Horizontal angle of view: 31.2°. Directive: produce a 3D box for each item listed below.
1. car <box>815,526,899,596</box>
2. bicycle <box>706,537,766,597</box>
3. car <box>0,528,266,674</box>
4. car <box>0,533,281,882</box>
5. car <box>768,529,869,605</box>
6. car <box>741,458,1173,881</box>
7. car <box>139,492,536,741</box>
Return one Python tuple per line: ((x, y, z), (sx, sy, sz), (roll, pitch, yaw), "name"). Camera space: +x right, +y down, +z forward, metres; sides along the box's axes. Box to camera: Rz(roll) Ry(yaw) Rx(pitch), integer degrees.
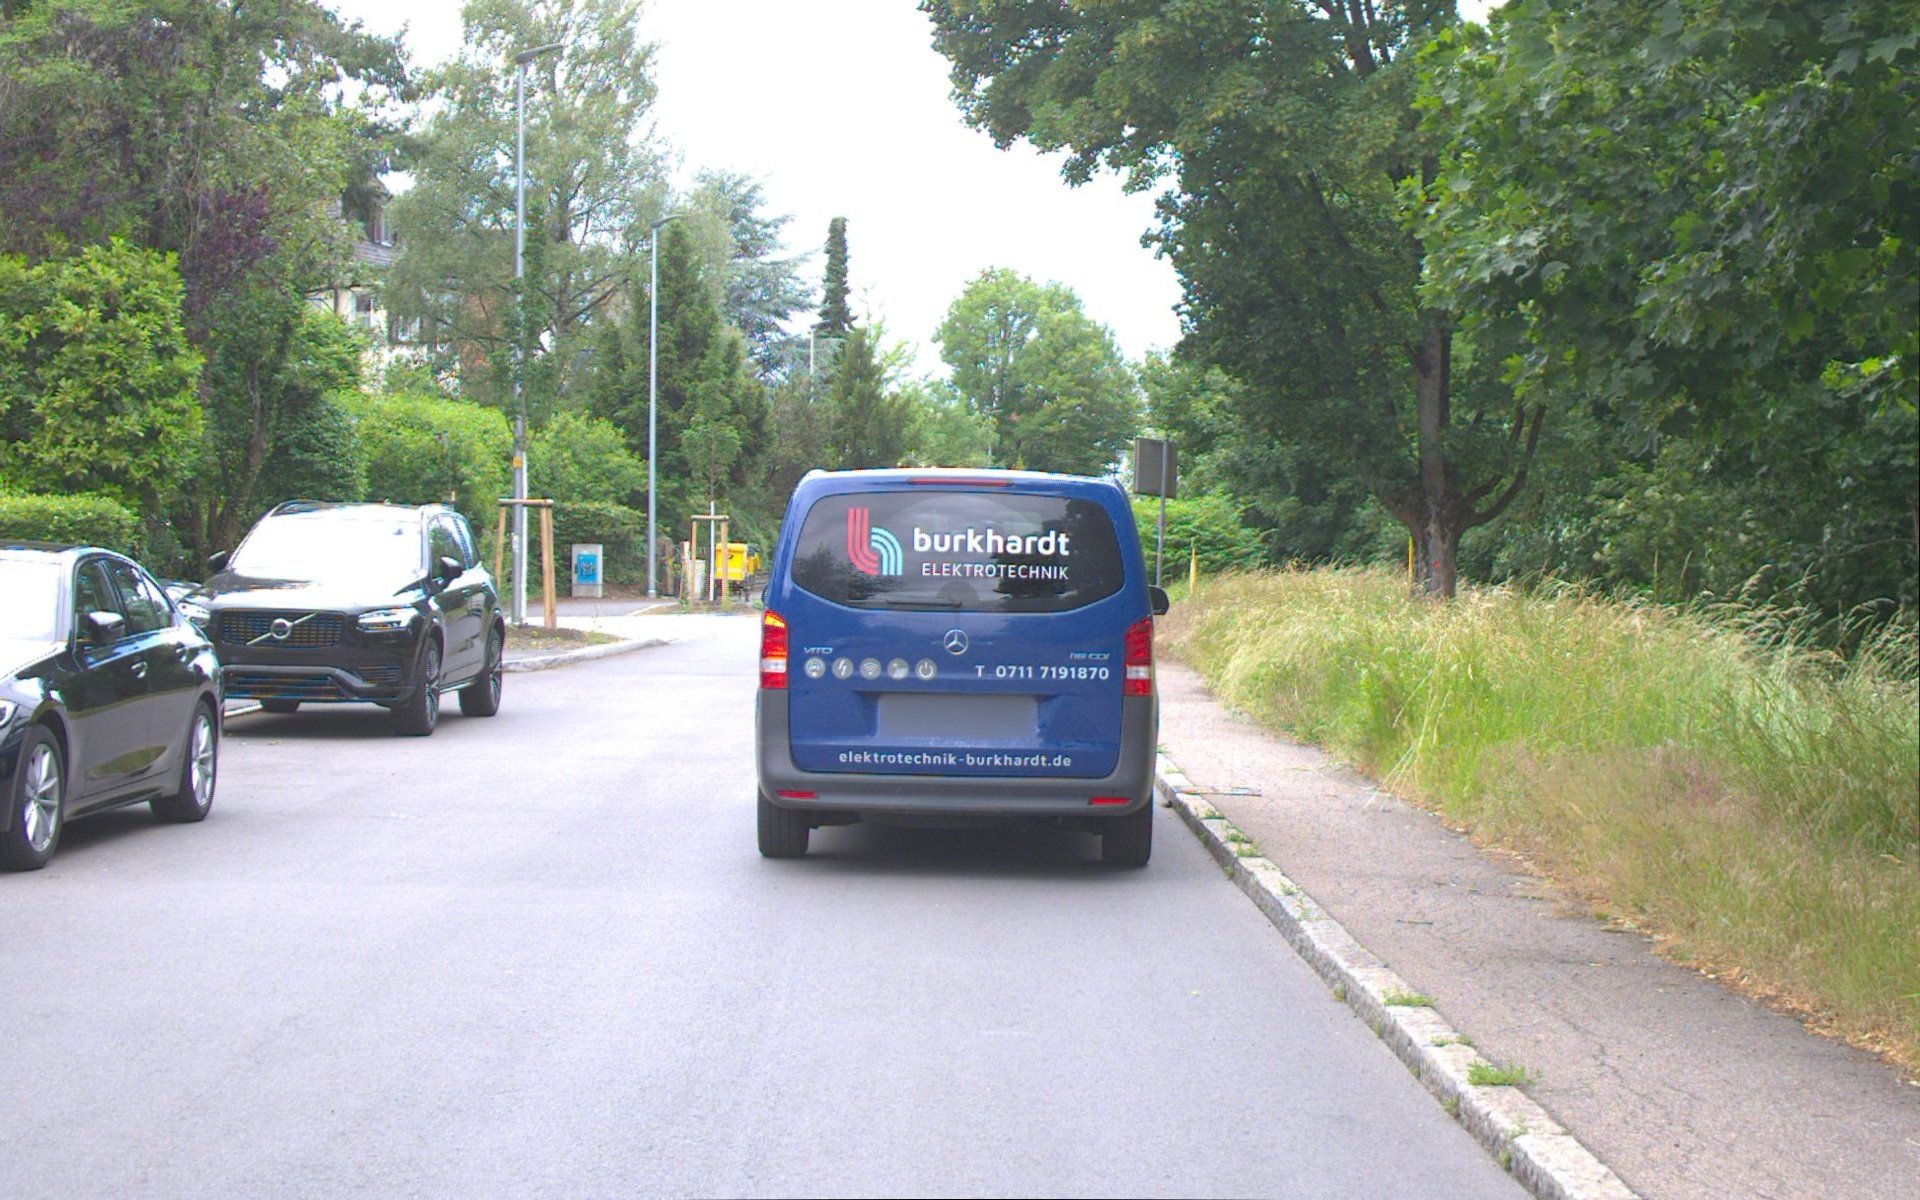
((-2.716, -1.055, 91.391), (1.832, 1.745, 4.000), (2, 1, 3), "car")
((-4.912, -0.726, 75.645), (0.906, 1.247, 2.916), (3, 1, 3), "bicycle")
((-9.215, -0.018, 35.159), (3.823, 1.380, 1.778), (1, 2, 3), "car")
((-4.730, 0.394, 16.534), (1.754, 1.408, 4.898), (2, 1, 2), "car")
((-3.201, -0.771, 78.500), (1.836, 1.625, 4.300), (2, 1, 3), "car")
((-0.088, 0.229, 17.166), (1.888, 1.837, 4.001), (1, 3, -2), "car")
((-4.788, 0.072, 27.256), (1.974, 1.731, 5.189), (2, 1, 2), "car")
